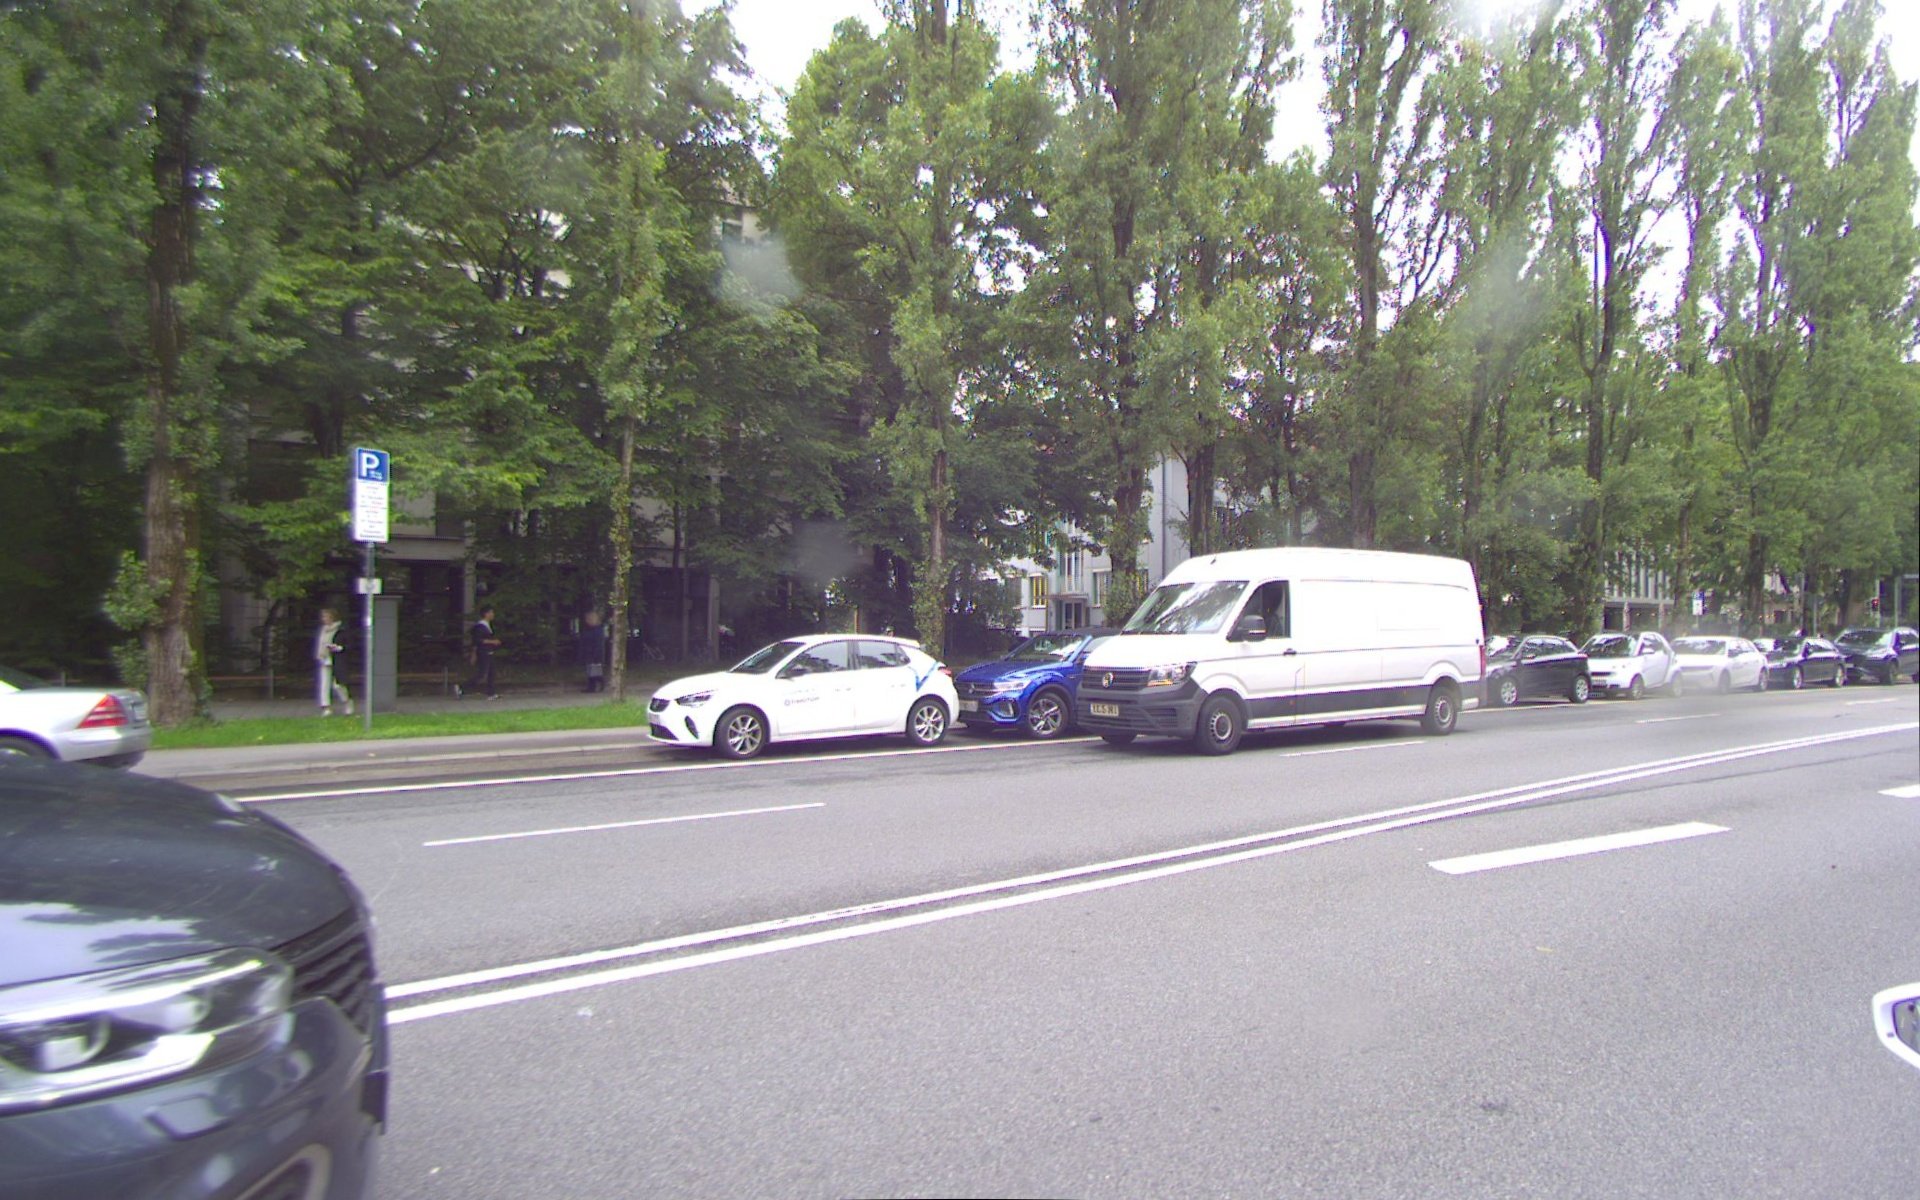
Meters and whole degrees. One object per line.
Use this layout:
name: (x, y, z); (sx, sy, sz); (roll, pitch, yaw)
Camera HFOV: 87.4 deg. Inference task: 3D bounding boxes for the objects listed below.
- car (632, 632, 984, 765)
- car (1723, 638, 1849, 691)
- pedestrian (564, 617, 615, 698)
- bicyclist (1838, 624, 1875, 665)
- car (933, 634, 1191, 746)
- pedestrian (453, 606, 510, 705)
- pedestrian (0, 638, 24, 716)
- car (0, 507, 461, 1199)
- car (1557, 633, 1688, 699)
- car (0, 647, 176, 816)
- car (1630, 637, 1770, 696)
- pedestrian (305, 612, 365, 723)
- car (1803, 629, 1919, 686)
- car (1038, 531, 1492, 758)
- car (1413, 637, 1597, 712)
car: (-1.907, 1.174, 13.014); (4.187, 1.471, 1.761); (1, -4, -32)
car: (23.694, 1.806, 28.771); (4.122, 1.407, 1.614); (1, -3, -33)
pedestrian: (-7.660, 1.168, 20.754); (0.871, 1.620, 0.733); (1, 0, -30)
bicyclist: (38.379, 1.904, 42.993); (0.812, 1.745, 0.904); (1, -1, -21)
car: (1.544, 1.262, 14.963); (3.546, 1.470, 1.700); (1, -3, -32)
pedestrian: (-8.994, 1.033, 18.877); (0.879, 1.795, 0.733); (1, 0, -30)
pedestrian: (-15.783, 1.223, 16.116); (0.912, 1.194, 0.962); (1, 0, -30)
car: (-2.950, 0.655, 1.117); (4.139, 1.607, 1.825); (1, 0, -32)
car: (15.595, 1.539, 23.640); (2.932, 1.466, 1.421); (1, -4, -31)
car: (-9.247, 1.091, 8.252); (4.185, 1.351, 1.817); (1, -4, -31)
car: (19.079, 1.678, 25.845); (4.124, 1.407, 1.614); (1, -3, -34)
pedestrian: (-9.787, 1.037, 15.760); (0.742, 1.686, 0.735); (1, -1, -30)
car: (28.700, 1.794, 31.753); (4.646, 1.675, 1.839); (1, -3, -33)
car: (4.405, 0.604, 13.888); (6.685, 2.515, 2.216); (1, -3, -33)
car: (11.463, 1.525, 21.102); (3.805, 1.444, 1.594); (1, -4, -29)
